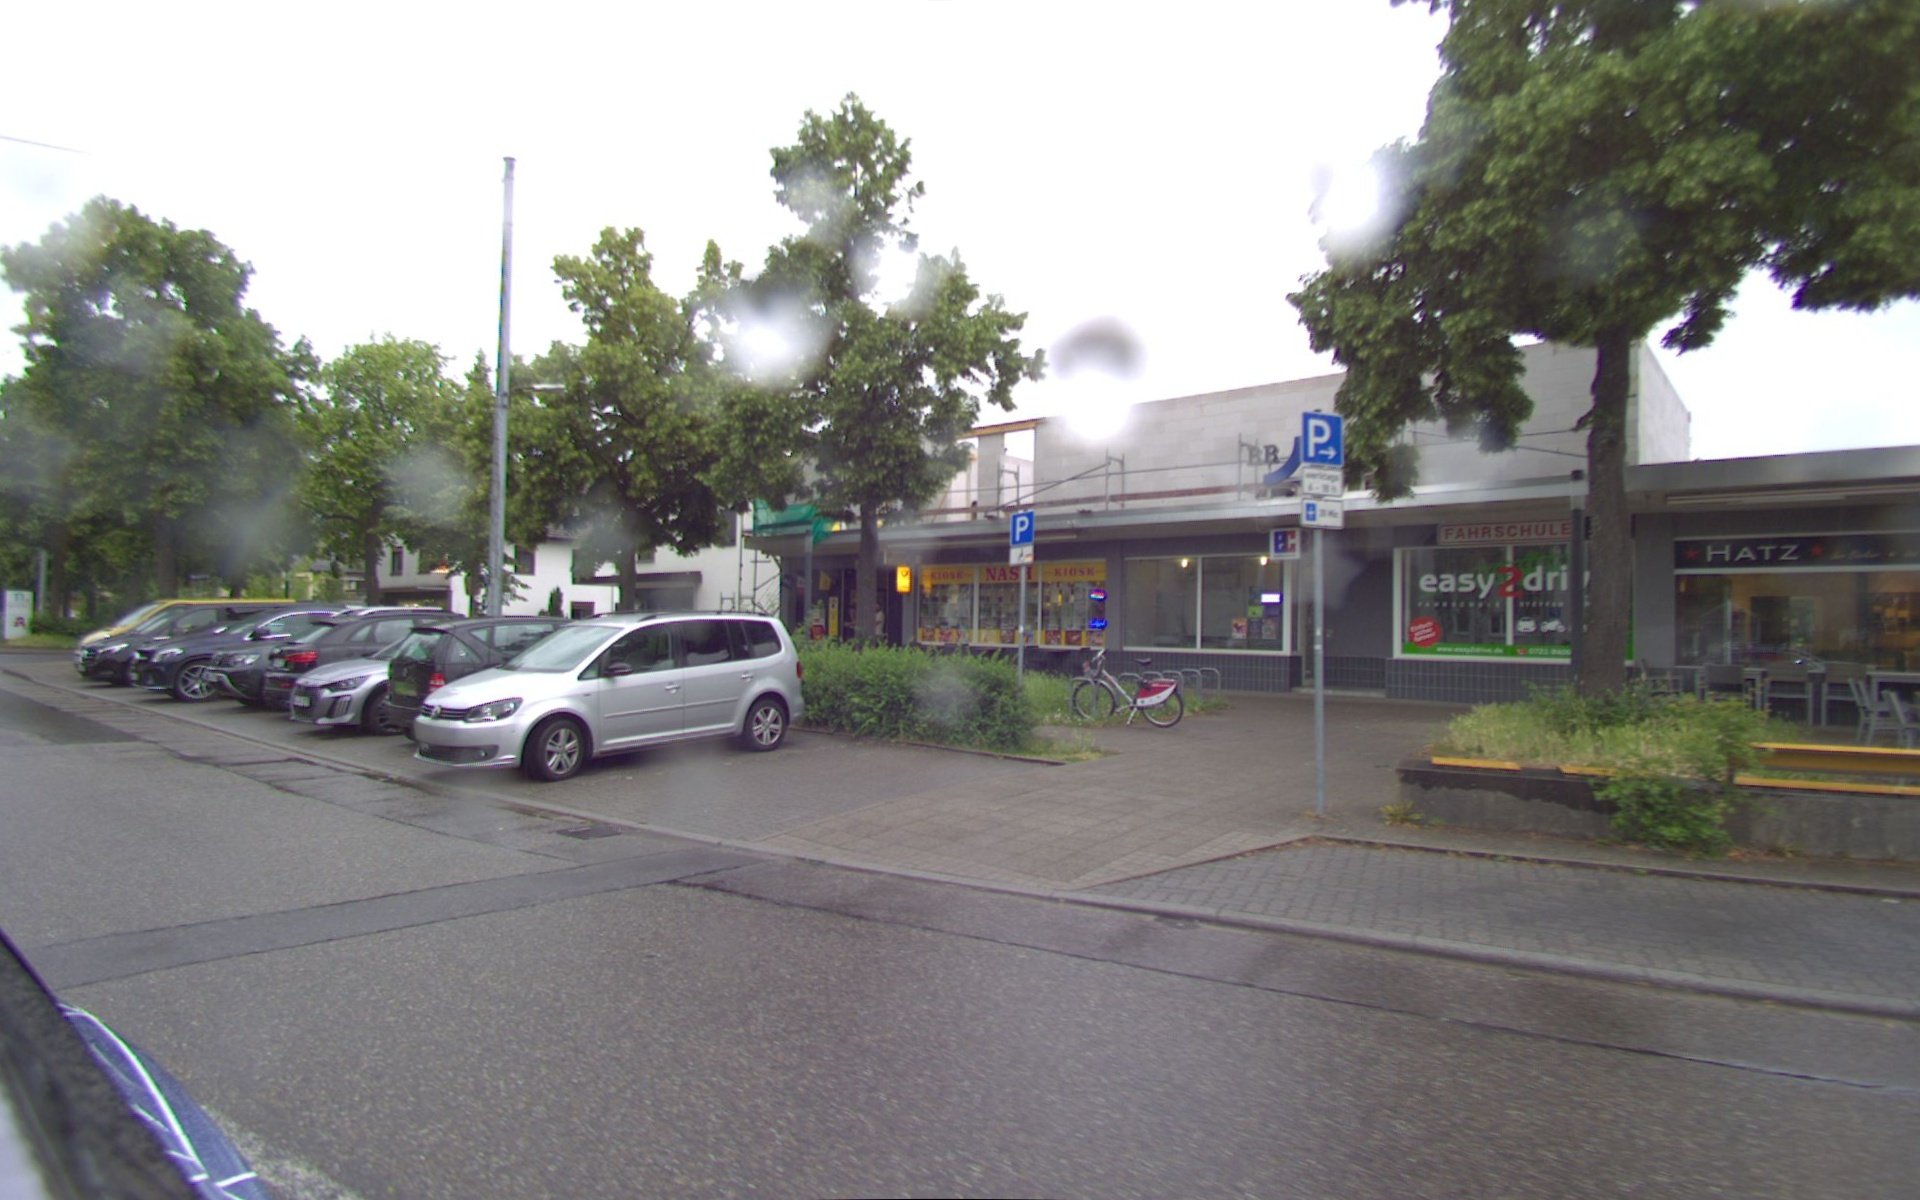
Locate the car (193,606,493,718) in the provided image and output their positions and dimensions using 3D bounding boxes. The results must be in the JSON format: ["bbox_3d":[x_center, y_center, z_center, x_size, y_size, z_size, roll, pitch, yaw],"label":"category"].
[{"bbox_3d":[-10.761,0.980,17.932,1.713,1.740,4.231,0,-1,38],"label":"car"}]

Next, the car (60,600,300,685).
[{"bbox_3d":[-19.824,1.007,25.915,1.713,1.973,4.599,0,-1,38],"label":"car"}]

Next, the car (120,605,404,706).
[{"bbox_3d":[-13.377,0.977,19.624,1.713,1.740,4.231,0,-1,38],"label":"car"}]

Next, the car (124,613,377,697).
[{"bbox_3d":[-15.347,1.112,22.090,1.713,1.639,4.231,0,-1,38],"label":"car"}]

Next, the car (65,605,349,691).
[{"bbox_3d":[-17.518,1.036,23.829,1.713,1.813,5.113,0,-1,38],"label":"car"}]

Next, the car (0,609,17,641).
[{"bbox_3d":[-51.941,1.327,52.665,1.997,1.698,3.949,0,0,38],"label":"car"}]

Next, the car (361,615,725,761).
[{"bbox_3d":[-5.320,1.008,13.421,1.633,1.577,4.230,0,0,38],"label":"car"}]

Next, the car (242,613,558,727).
[{"bbox_3d":[-9.038,1.032,16.645,1.713,1.607,4.231,0,-1,38],"label":"car"}]

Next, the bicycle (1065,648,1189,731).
[{"bbox_3d":[2.398,1.267,14.579,1.739,1.115,0.316,0,0,25],"label":"bicycle"}]

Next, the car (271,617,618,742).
[{"bbox_3d":[-7.391,1.032,14.891,1.713,1.544,4.231,0,-1,38],"label":"car"}]

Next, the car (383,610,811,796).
[{"bbox_3d":[-3.790,0.941,11.243,1.713,1.647,4.231,0,-1,38],"label":"car"}]
